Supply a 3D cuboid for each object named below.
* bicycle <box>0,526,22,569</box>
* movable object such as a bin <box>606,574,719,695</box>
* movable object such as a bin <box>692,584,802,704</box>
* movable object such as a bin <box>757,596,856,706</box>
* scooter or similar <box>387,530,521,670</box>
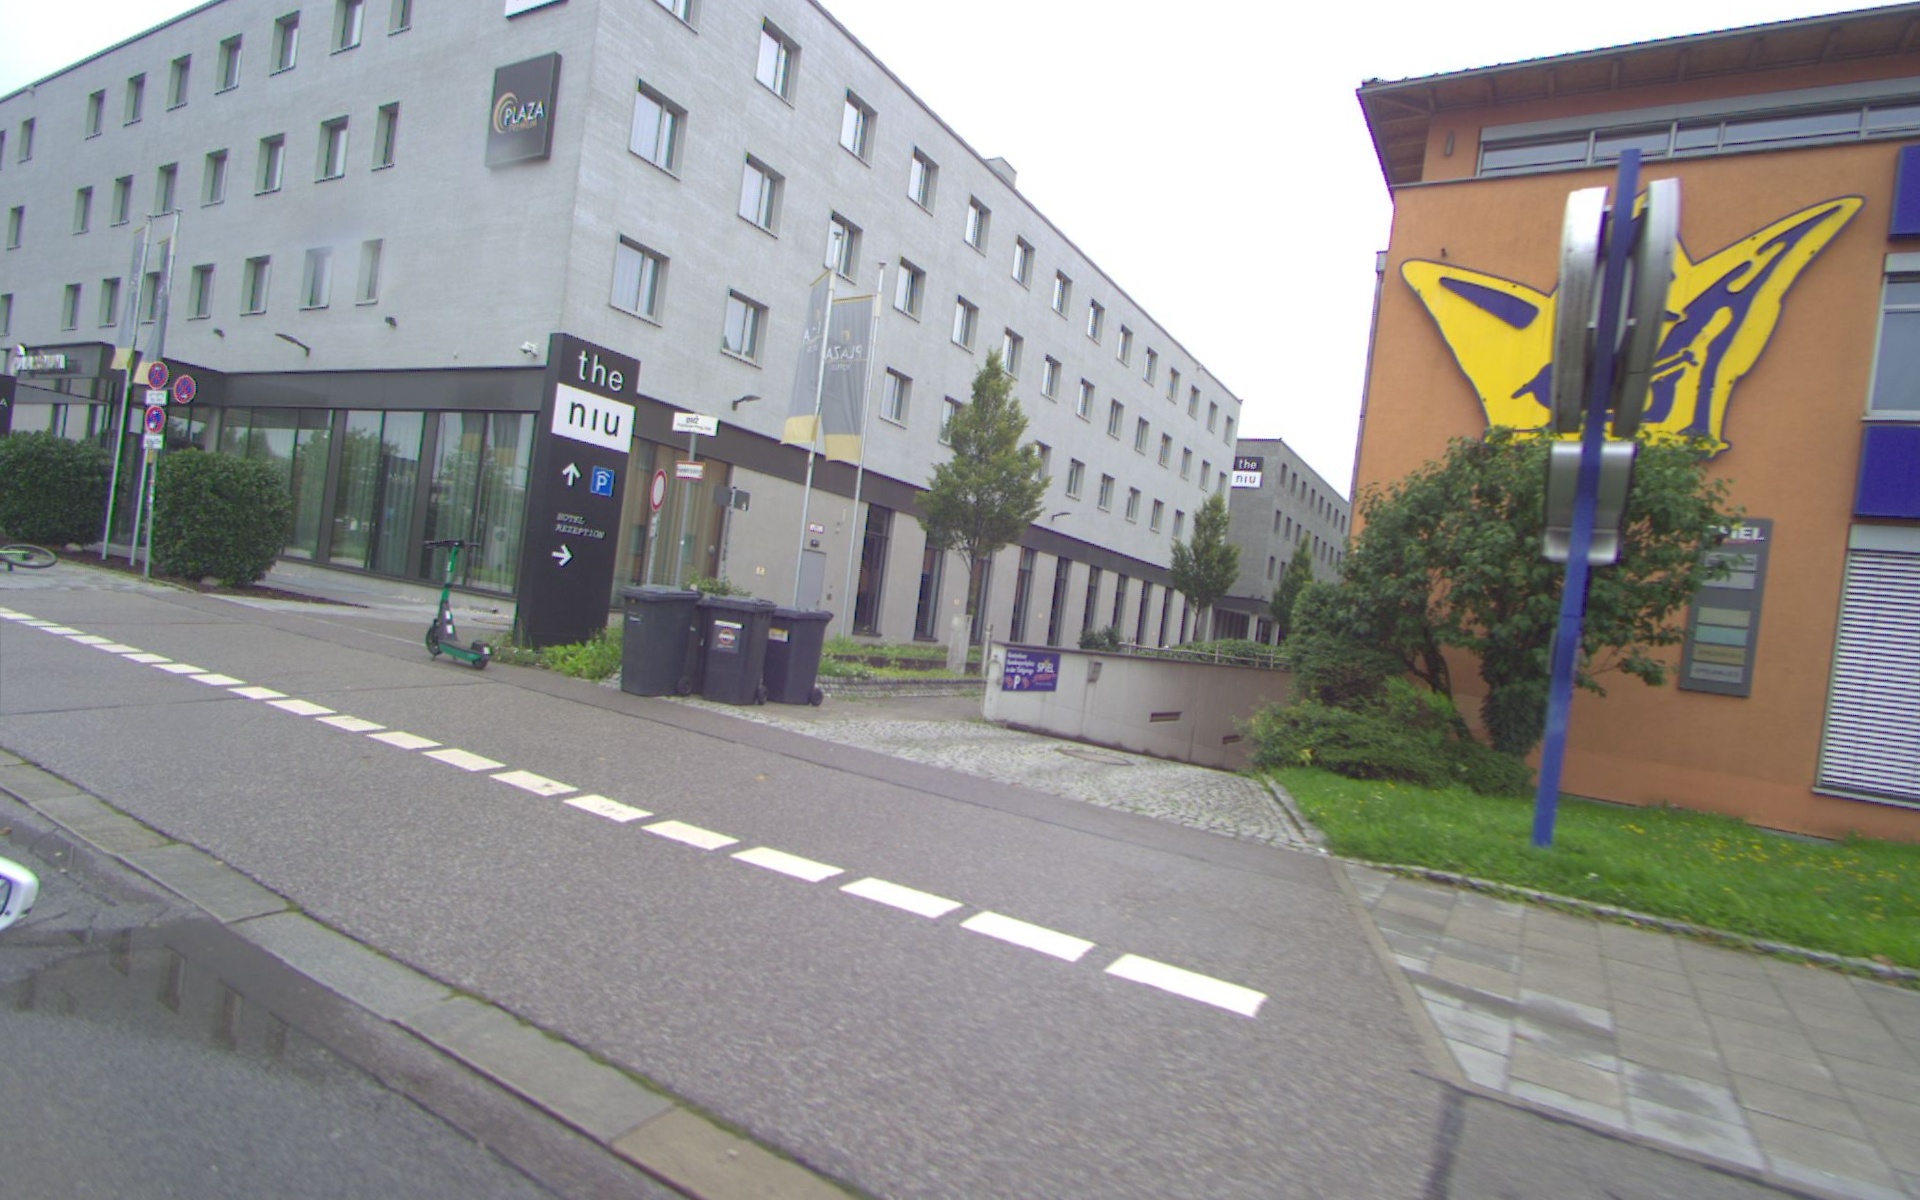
[{"bbox_3d":[-14.579,-0.834,14.788,1.703,0.556,0.720,7,3,31],"label":"bicycle"},{"bbox_3d":[-2.946,0.343,9.978,0.644,1.092,0.737,8,2,32],"label":"movable object such as a bin"},{"bbox_3d":[-2.127,0.440,10.063,0.644,1.092,0.737,8,2,32],"label":"movable object such as a bin"},{"bbox_3d":[-1.671,0.559,11.001,0.644,1.092,0.737,8,2,32],"label":"movable object such as a bin"},{"bbox_3d":[-5.314,-0.024,10.548,1.380,1.296,0.585,8,5,32],"label":"scooter or similar"}]
